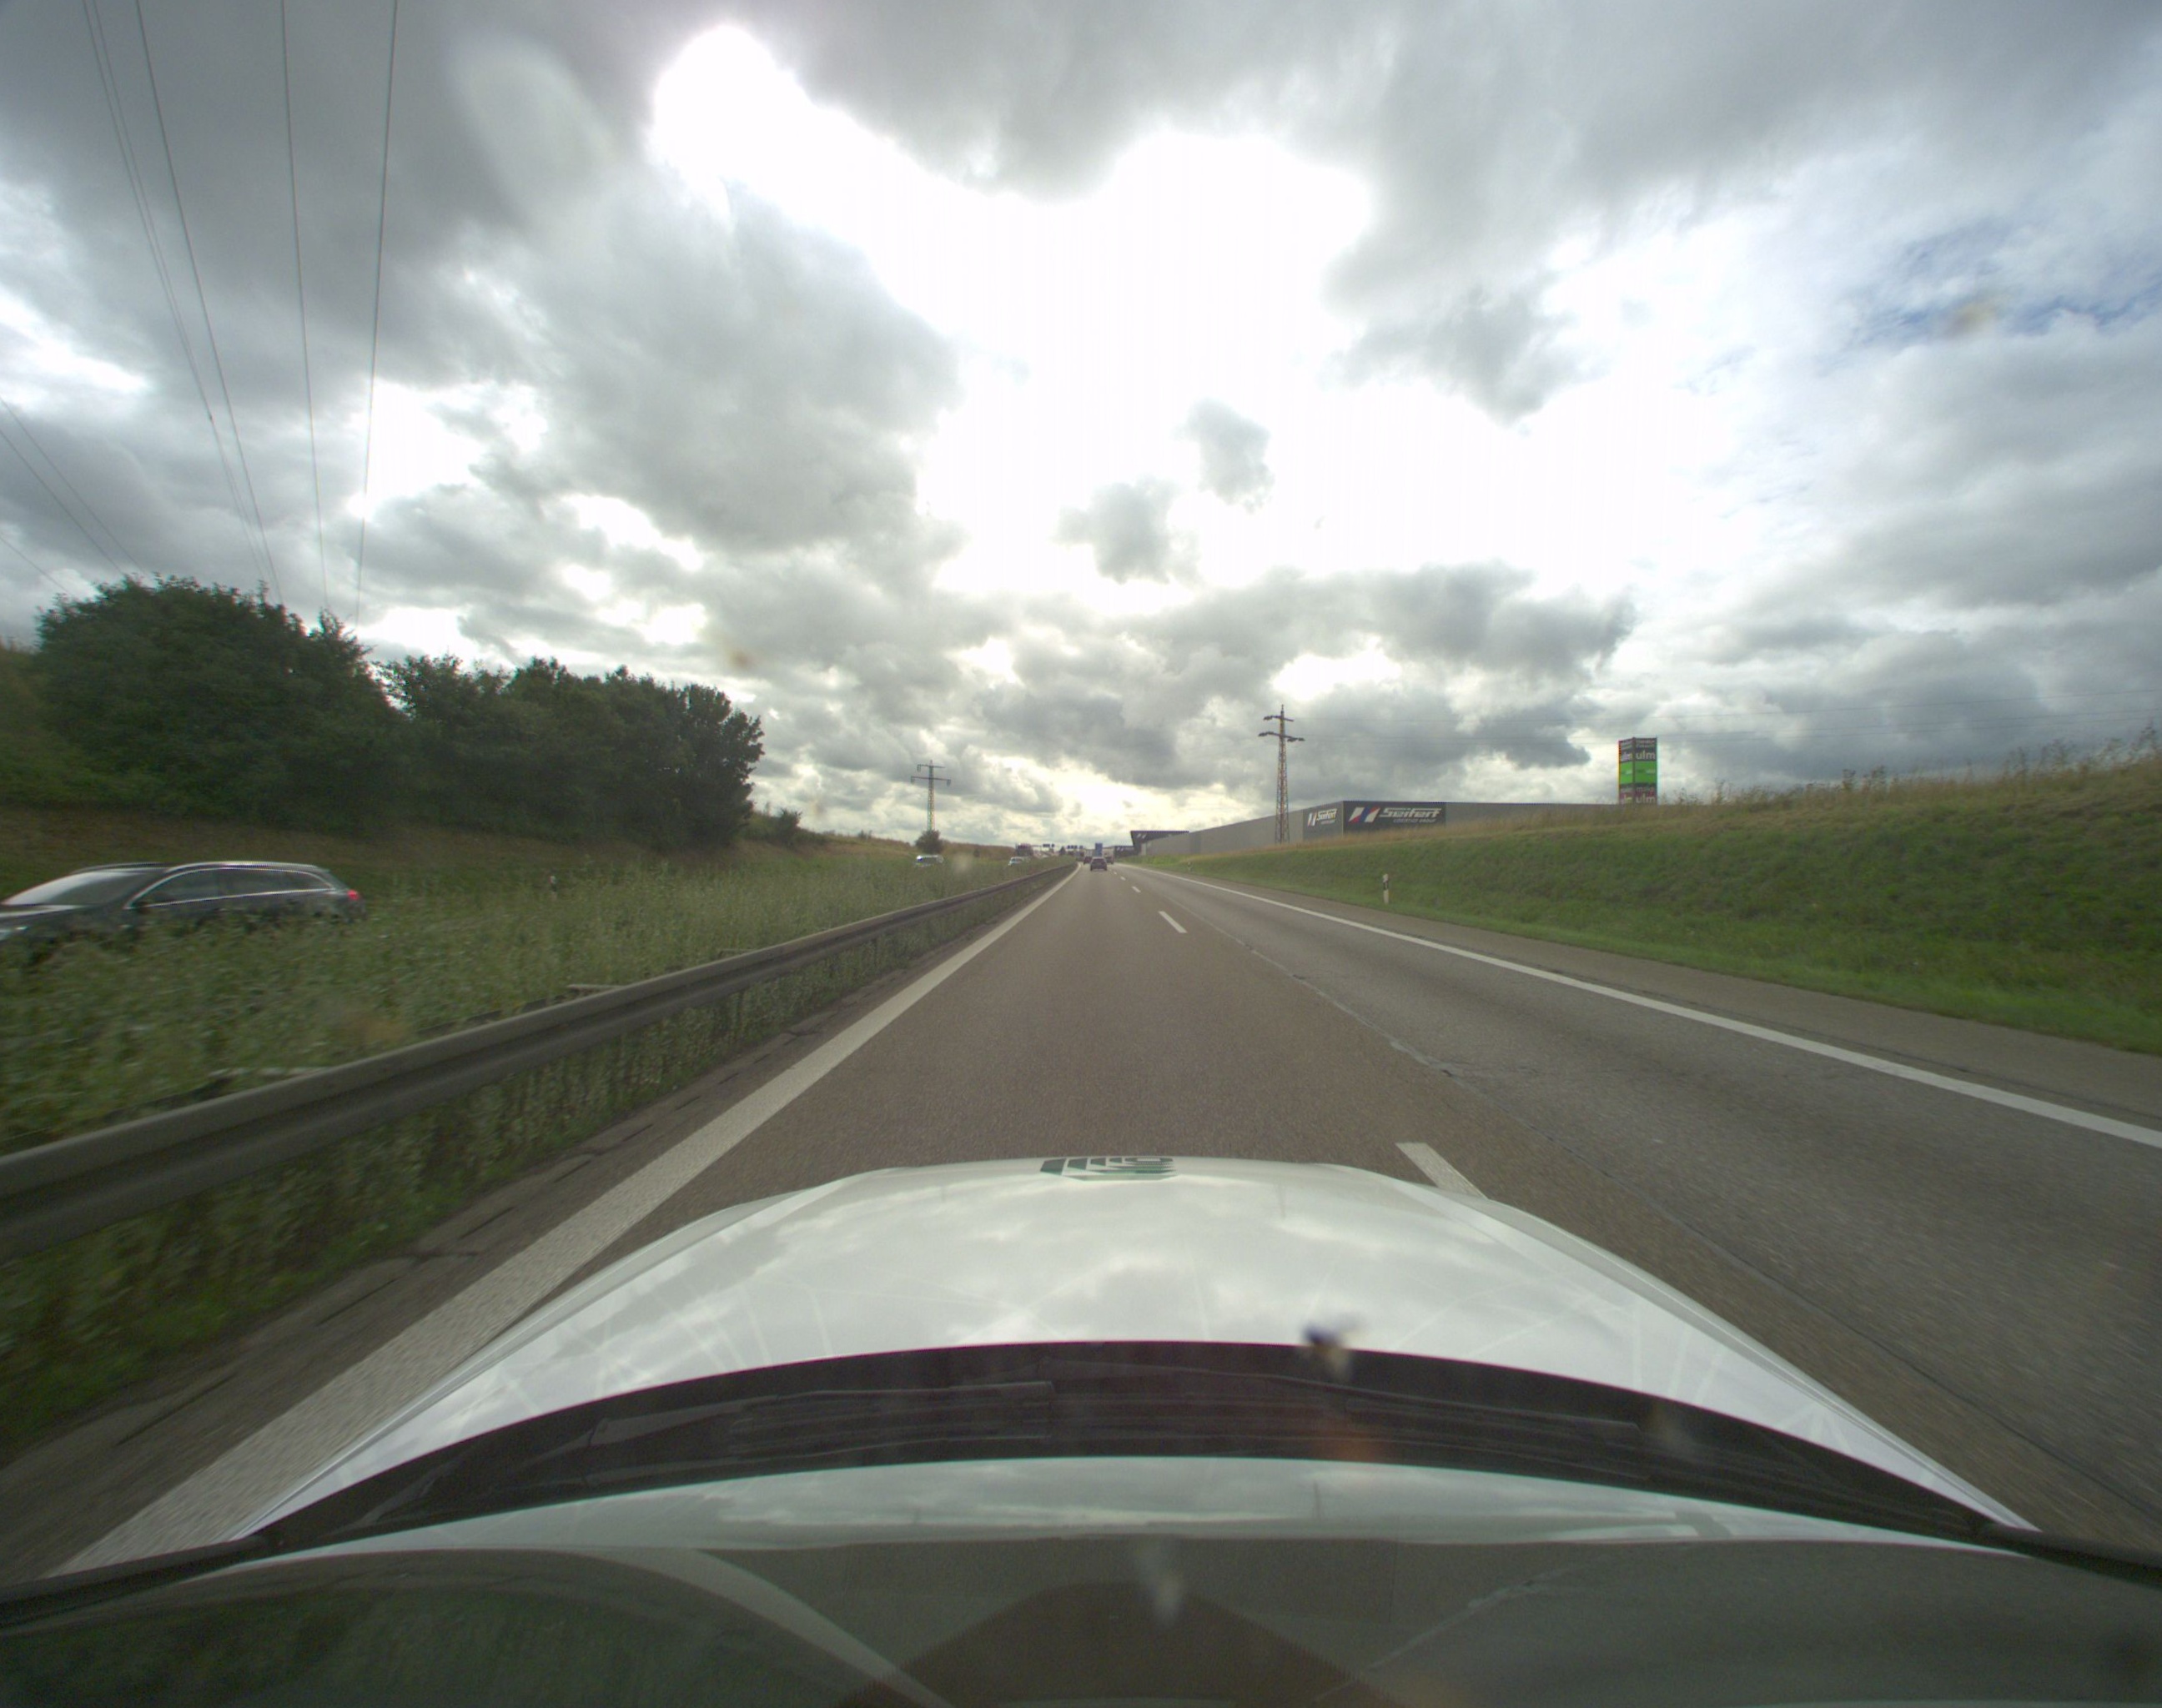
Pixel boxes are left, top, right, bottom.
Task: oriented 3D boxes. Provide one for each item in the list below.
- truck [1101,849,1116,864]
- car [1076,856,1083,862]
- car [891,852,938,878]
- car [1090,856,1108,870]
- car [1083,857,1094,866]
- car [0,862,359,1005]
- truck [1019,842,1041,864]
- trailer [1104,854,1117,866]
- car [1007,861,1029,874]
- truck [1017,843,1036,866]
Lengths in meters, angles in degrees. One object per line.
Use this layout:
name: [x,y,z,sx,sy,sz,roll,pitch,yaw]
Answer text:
truck: [5.582,0.500,163.793,2.477,2.950,5.807,0,-1,-3]
car: [-0.427,1.646,251.382,1.937,1.775,3.696,0,-1,0]
car: [-10.518,0.686,51.918,1.922,1.575,5.619,0,0,-1]
car: [1.952,0.986,87.515,1.741,1.453,3.998,0,-1,-1]
car: [1.447,1.484,157.173,1.940,1.685,3.998,0,-1,-1]
car: [-11.810,0.833,10.311,1.740,1.453,4.000,0,-1,1]
truck: [-9.455,-0.141,153.818,2.714,3.936,17.402,-1,0,1]
trailer: [5.627,1.135,156.910,2.332,2.136,3.998,0,-1,-1]
car: [-7.054,1.475,91.463,1.986,1.457,4.444,0,-1,1]
truck: [-9.616,0.056,144.132,2.714,3.936,5.987,-1,0,1]
